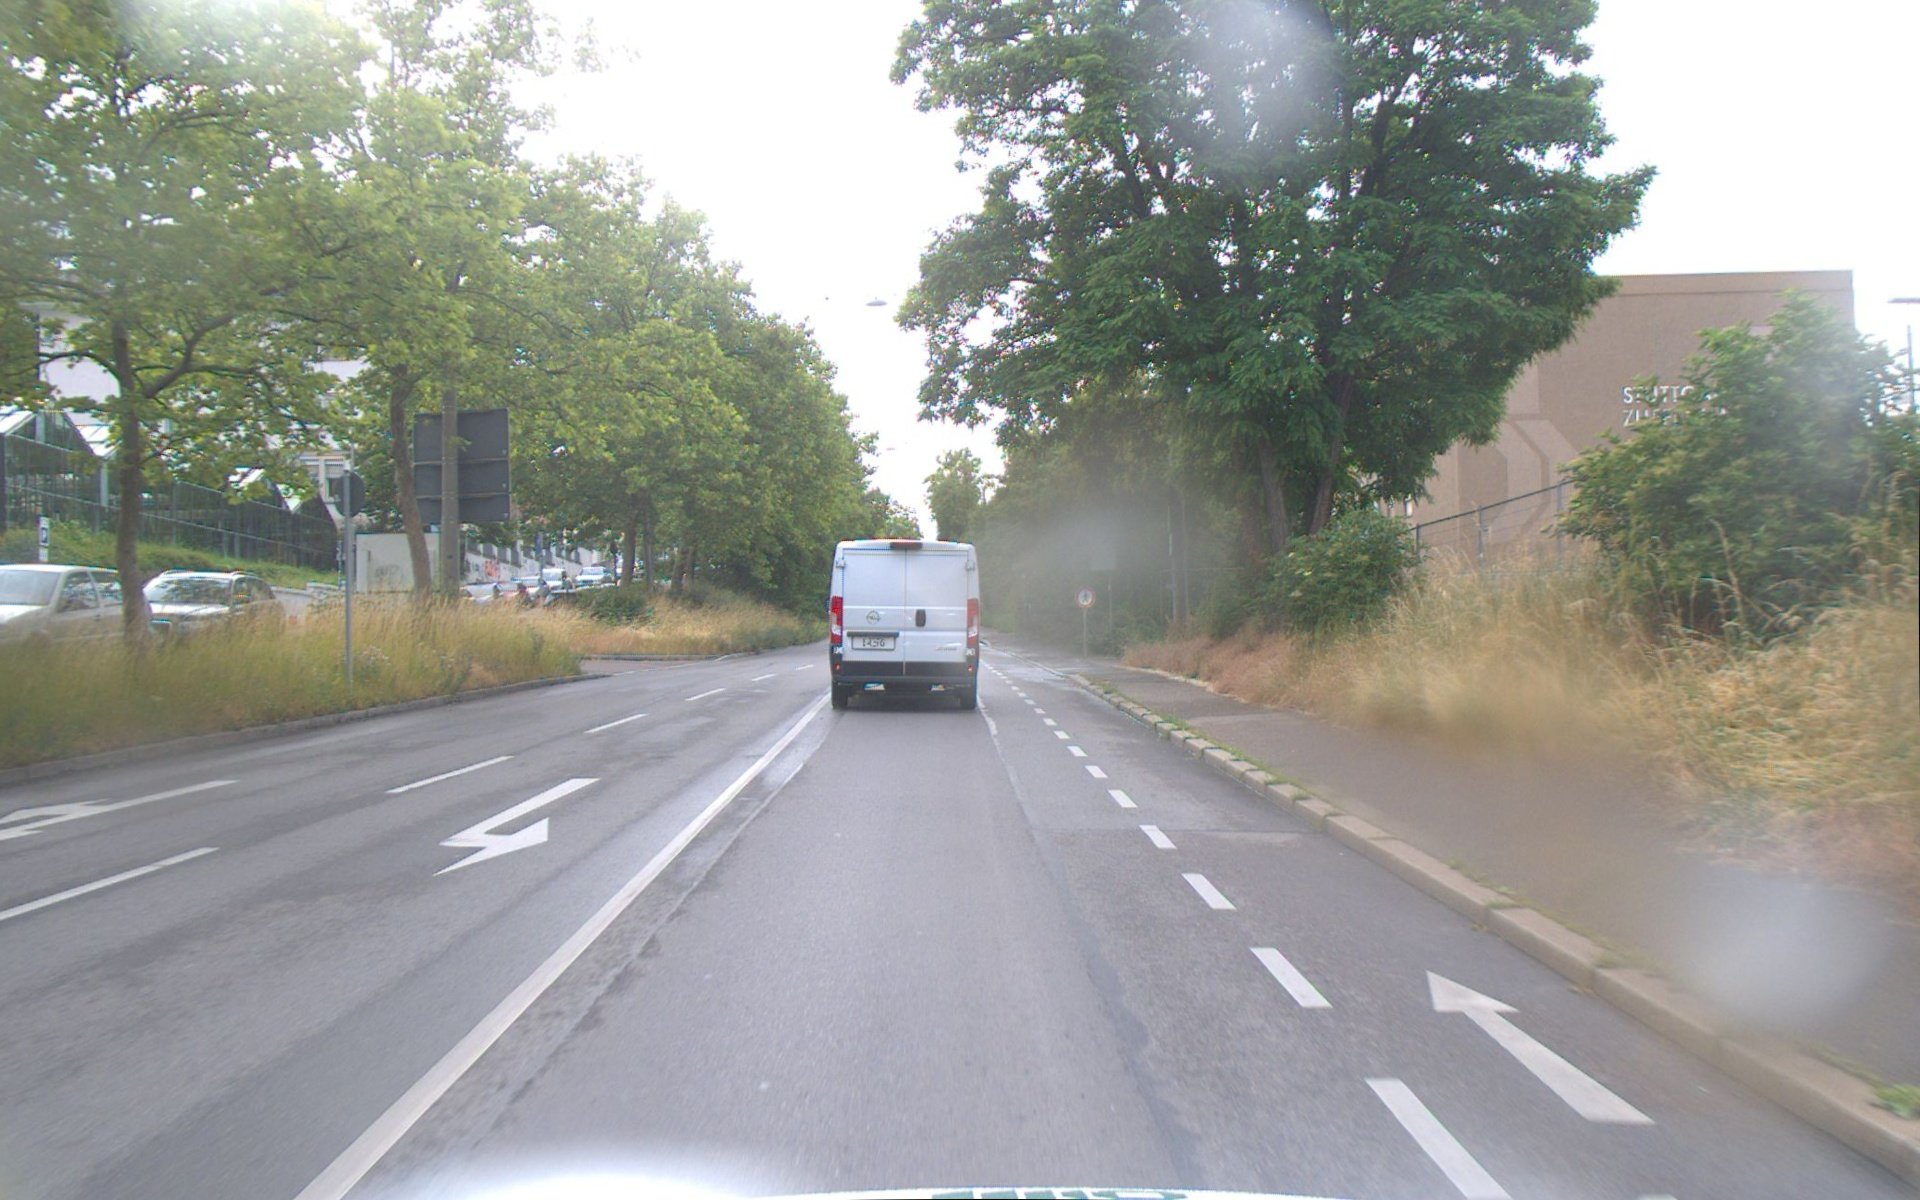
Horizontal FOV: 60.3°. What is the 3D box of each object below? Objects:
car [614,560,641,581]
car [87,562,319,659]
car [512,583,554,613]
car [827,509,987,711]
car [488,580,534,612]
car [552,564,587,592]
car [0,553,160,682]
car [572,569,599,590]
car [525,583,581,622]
[{"bbox_3d":[-23.705,-2.109,117.920,1.568,1.272,2.907,-1,-2,-5],"label":"car"},{"bbox_3d":[-11.434,0.226,25.325,1.506,1.316,4.543,-1,-2,-1],"label":"car"},{"bbox_3d":[-20.940,-0.107,81.179,1.332,1.333,3.085,-1,-2,-2],"label":"car"},{"bbox_3d":[-0.748,0.113,24.079,2.009,2.560,4.942,2,0,-1],"label":"car"},{"bbox_3d":[-20.643,-0.182,76.118,1.332,1.333,3.085,-1,-2,-2],"label":"car"},{"bbox_3d":[-20.524,-1.150,87.041,1.355,1.321,3.012,-1,-2,-5],"label":"car"},{"bbox_3d":[-11.162,0.268,19.962,1.333,1.419,3.705,-1,-2,-2],"label":"car"},{"bbox_3d":[-22.960,-1.253,101.449,1.189,1.153,2.451,-1,-2,-2],"label":"car"},{"bbox_3d":[-13.426,0.098,54.638,1.323,1.150,2.750,-1,-2,-4],"label":"car"}]
